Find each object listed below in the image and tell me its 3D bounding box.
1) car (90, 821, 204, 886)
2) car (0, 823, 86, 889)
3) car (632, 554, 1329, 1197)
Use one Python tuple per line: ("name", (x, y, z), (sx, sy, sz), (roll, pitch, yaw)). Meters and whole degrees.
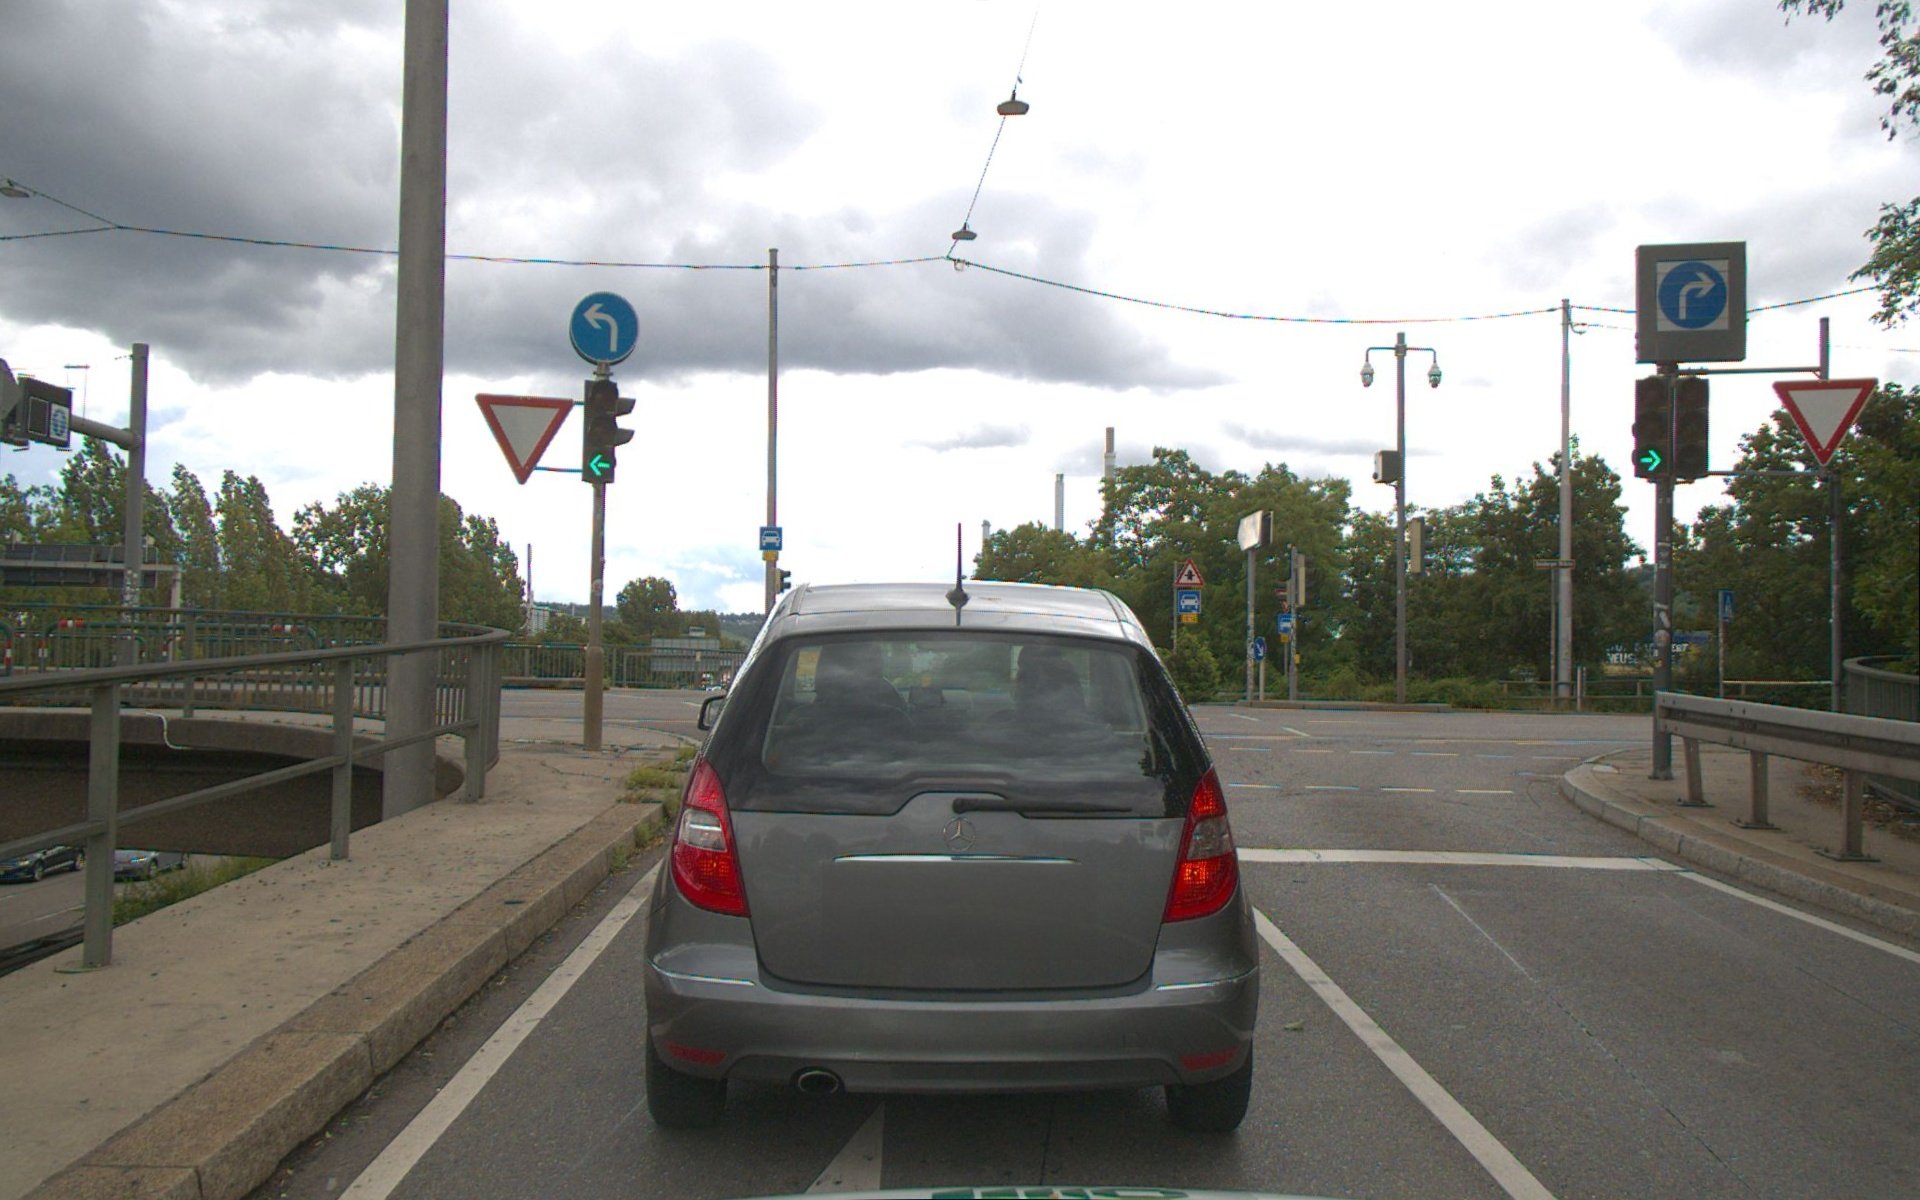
("car", (-26.858, 8.354, 54.820), (1.785, 1.640, 4.296), (-1, -3, -2))
("car", (-30.634, 8.365, 54.261), (1.785, 1.640, 4.296), (-1, -2, -2))
("car", (0.035, 0.691, 5.867), (1.704, 1.570, 3.540), (1, 0, -1))
